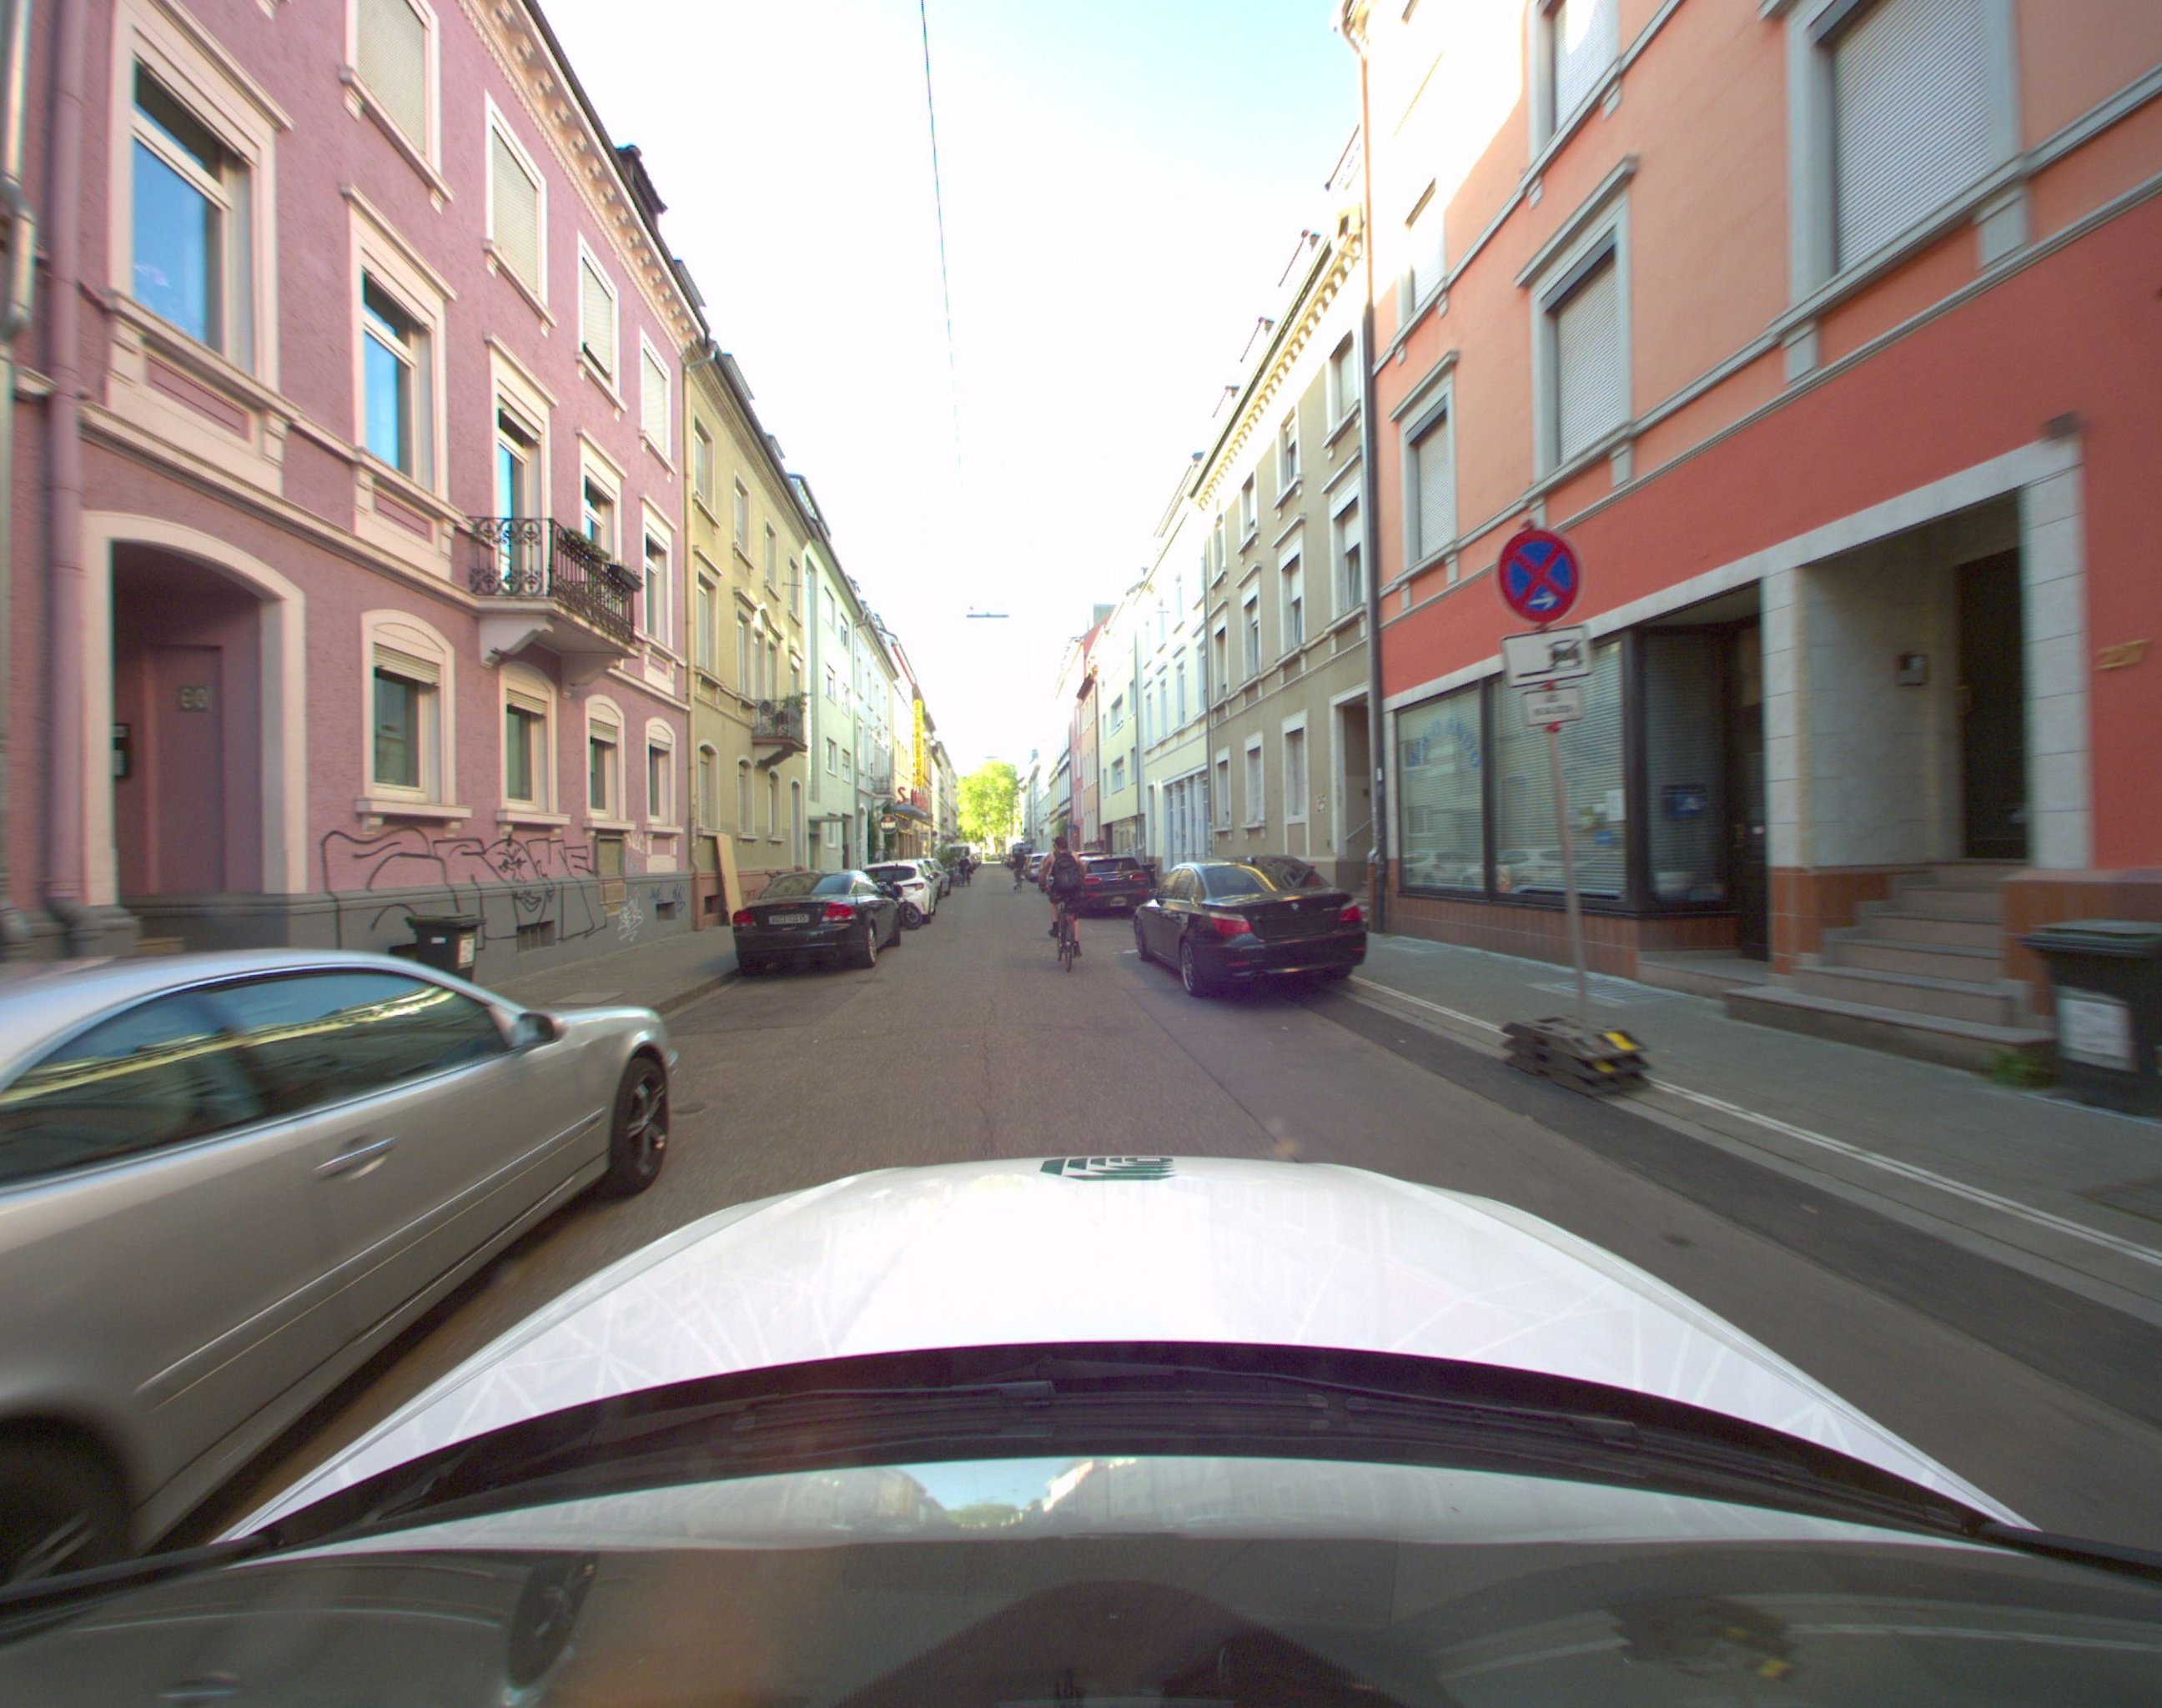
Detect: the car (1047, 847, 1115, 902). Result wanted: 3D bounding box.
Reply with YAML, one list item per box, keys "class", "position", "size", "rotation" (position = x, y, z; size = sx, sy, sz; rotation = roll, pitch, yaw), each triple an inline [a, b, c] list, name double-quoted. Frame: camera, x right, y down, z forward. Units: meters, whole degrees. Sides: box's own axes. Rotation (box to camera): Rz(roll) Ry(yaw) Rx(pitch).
- class: "car"
  position: [-0.067, 0.632, 26.546]
  size: [1.709, 1.556, 3.991]
  rotation: [-3, 0, -7]

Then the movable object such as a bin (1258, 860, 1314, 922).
- class: "movable object such as a bin"
  position: [3.835, 0.680, 15.259]
  size: [0.805, 1.075, 0.677]
  rotation: [-4, 0, -2]

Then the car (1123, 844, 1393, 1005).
- class: "car"
  position: [1.857, 0.690, 10.258]
  size: [1.815, 1.438, 4.779]
  rotation: [-3, 0, -7]

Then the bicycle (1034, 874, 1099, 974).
- class: "bicycle"
  position: [-0.251, 0.902, 11.354]
  size: [0.701, 1.208, 2.337]
  rotation: [0, -1, -6]

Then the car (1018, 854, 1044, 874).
- class: "car"
  position: [-3.890, 0.766, 62.803]
  size: [1.709, 1.447, 3.991]
  rotation: [-3, 0, -7]

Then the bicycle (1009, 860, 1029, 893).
- class: "bicycle"
  position: [-2.537, 0.894, 33.167]
  size: [0.701, 1.208, 2.337]
  rotation: [-1, 1, -7]

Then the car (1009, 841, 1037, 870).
- class: "car"
  position: [-5.629, 0.175, 78.517]
  size: [2.305, 2.537, 6.754]
  rotation: [-3, 0, -6]

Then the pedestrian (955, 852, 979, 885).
- class: "pedestrian"
  position: [-5.602, 0.705, 40.046]
  size: [0.905, 1.578, 0.764]
  rotation: [1, -1, -43]

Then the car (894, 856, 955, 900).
- class: "car"
  position: [-5.727, 0.839, 30.116]
  size: [1.669, 1.441, 3.748]
  rotation: [-3, 0, -4]

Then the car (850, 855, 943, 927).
- class: "car"
  position: [-4.325, 0.807, 19.645]
  size: [1.670, 1.441, 4.155]
  rotation: [-3, 0, -7]

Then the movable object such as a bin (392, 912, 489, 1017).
- class: "movable object such as a bin"
  position: [-6.142, 1.046, 7.831]
  size: [0.543, 0.945, 0.486]
  rotation: [0, -1, -6]

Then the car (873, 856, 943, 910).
- class: "car"
  position: [-5.271, 0.847, 25.156]
  size: [1.670, 1.441, 3.759]
  rotation: [-3, 0, -7]

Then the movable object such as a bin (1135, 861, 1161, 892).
- class: "movable object such as a bin"
  position: [2.415, 0.803, 29.451]
  size: [0.805, 1.075, 0.677]
  rotation: [-4, 0, -2]

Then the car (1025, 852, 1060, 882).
- class: "car"
  position: [-2.227, 0.744, 46.365]
  size: [1.619, 1.550, 3.991]
  rotation: [-3, 0, -7]

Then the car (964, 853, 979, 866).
- class: "car"
  position: [-13.360, 0.724, 99.276]
  size: [1.670, 1.441, 4.155]
  rotation: [-3, 0, -7]

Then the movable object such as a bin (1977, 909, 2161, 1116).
- class: "movable object such as a bin"
  position: [5.228, 0.769, 4.173]
  size: [0.597, 0.906, 0.578]
  rotation: [-4, -1, -8]

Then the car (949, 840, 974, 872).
- class: "car"
  position: [-9.751, 0.172, 66.607]
  size: [1.909, 2.496, 4.153]
  rotation: [-2, 0, -8]

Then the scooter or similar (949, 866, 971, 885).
- class: "scooter or similar"
  position: [-5.925, 1.050, 39.739]
  size: [0.775, 0.873, 0.764]
  rotation: [1, -1, -43]

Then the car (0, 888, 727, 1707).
- class: "car"
  position: [-2.754, 0.922, 2.526]
  size: [1.709, 1.383, 4.495]
  rotation: [-3, 0, -7]

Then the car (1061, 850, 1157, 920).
- class: "car"
  position: [0.601, 0.729, 20.779]
  size: [1.815, 1.521, 3.991]
  rotation: [-3, 0, -7]

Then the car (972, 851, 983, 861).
- class: "car"
  position: [-17.040, 0.310, 134.349]
  size: [1.670, 1.441, 4.155]
  rotation: [-3, 0, -7]

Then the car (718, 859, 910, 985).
- class: "car"
  position: [-3.825, 0.871, 12.469]
  size: [1.707, 1.383, 4.349]
  rotation: [-3, 1, -4]

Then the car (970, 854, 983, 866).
- class: "car"
  position: [-14.738, 0.844, 114.721]
  size: [1.670, 1.441, 4.155]
  rotation: [-3, 0, -7]

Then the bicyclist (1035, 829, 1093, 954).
- class: "bicyclist"
  position: [-0.255, 0.493, 11.253]
  size: [0.701, 1.633, 1.087]
  rotation: [0, -1, -6]

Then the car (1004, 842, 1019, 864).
- class: "car"
  position: [-12.890, -0.172, 150.839]
  size: [2.305, 3.767, 6.754]
  rotation: [-3, 0, -6]

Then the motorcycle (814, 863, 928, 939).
- class: "motorcycle"
  position: [-4.345, 0.951, 16.918]
  size: [2.157, 1.359, 0.536]
  rotation: [-4, 1, -25]

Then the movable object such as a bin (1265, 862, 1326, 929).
- class: "movable object such as a bin"
  position: [3.741, 0.707, 14.224]
  size: [0.737, 1.075, 0.674]
  rotation: [-4, 0, -13]

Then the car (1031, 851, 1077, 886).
- class: "car"
  position: [-1.257, 0.621, 36.654]
  size: [1.709, 1.383, 3.991]
  rotation: [-3, 0, -7]

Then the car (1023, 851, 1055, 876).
- class: "car"
  position: [-2.711, 0.584, 51.703]
  size: [1.709, 1.393, 3.991]
  rotation: [-3, 0, -7]

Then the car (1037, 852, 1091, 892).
- class: "car"
  position: [-0.726, 0.678, 31.782]
  size: [1.709, 1.383, 3.991]
  rotation: [-3, 0, -7]

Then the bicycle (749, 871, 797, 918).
- class: "bicycle"
  position: [-7.697, 0.979, 20.435]
  size: [0.592, 1.089, 2.074]
  rotation: [0, -1, -6]

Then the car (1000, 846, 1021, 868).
- class: "car"
  position: [-8.990, 0.366, 103.683]
  size: [2.305, 2.537, 6.754]
  rotation: [-3, 0, -6]

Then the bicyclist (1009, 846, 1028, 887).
- class: "bicyclist"
  position: [-2.533, 0.496, 33.078]
  size: [0.701, 1.605, 0.811]
  rotation: [-1, 1, -7]

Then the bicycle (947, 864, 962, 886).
- class: "bicycle"
  position: [-6.458, 1.051, 41.577]
  size: [0.699, 1.105, 2.266]
  rotation: [0, -1, -10]
